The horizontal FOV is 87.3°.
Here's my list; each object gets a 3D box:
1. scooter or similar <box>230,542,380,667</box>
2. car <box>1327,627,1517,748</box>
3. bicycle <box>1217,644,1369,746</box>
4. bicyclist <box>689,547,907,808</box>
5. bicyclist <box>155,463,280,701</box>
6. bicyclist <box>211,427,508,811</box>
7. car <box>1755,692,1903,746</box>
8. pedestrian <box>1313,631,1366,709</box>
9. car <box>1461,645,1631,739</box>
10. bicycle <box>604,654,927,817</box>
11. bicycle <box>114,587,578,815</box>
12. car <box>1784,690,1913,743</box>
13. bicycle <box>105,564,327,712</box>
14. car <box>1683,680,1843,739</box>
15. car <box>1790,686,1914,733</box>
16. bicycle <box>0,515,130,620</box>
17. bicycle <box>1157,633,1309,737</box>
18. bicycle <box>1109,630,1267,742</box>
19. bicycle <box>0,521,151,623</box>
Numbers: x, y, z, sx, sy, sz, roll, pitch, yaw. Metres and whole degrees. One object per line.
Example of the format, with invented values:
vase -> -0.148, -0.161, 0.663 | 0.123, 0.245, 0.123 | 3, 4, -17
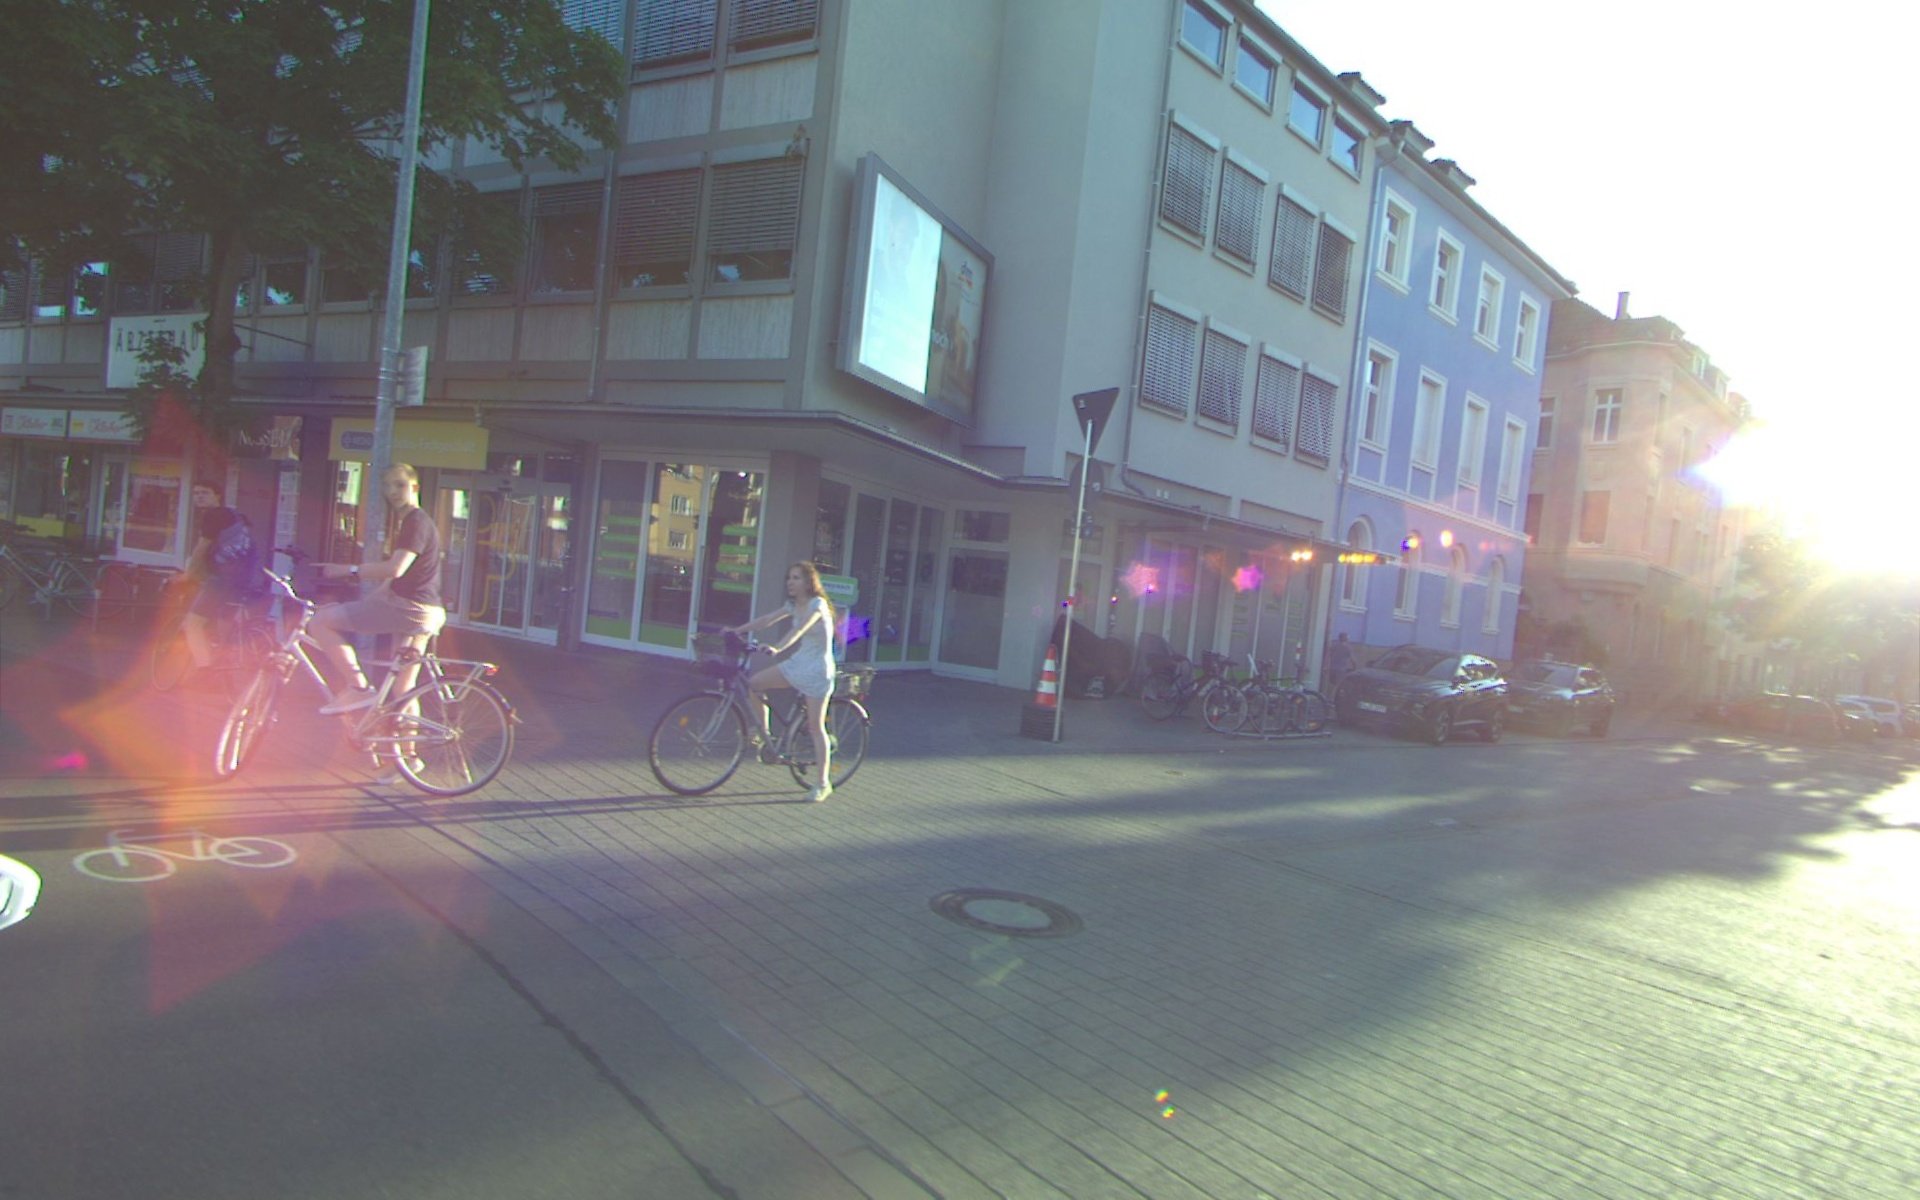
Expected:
scooter or similar -> -7.258, 0.058, 11.191 | 1.261, 1.251, 0.336 | 6, 1, -23
car -> 8.748, 1.623, 18.887 | 1.868, 1.773, 3.978 | 11, 3, 43
bicycle -> 5.260, 1.487, 16.017 | 0.699, 1.236, 2.087 | 5, 3, -41
bicyclist -> -1.140, 0.527, 7.092 | 1.106, 1.643, 0.831 | 5, 2, -41
bicyclist -> -6.107, -0.144, 8.284 | 0.549, 1.854, 0.466 | 7, 2, 17
bicyclist -> -3.376, 0.117, 5.781 | 1.096, 1.942, 0.838 | 6, 1, -11
car -> 34.293, 4.678, 39.844 | 3.929, 1.405, 1.997 | 7, 1, 26
pedestrian -> 8.021, 1.483, 21.257 | 0.595, 1.545, 0.668 | 5, 3, -43
car -> 13.796, 2.177, 23.597 | 4.398, 1.772, 1.872 | 6, 2, -40
bicycle -> -1.301, 0.913, 6.998 | 1.997, 0.892, 0.831 | 6, 0, -41
bicycle -> -3.406, 0.563, 5.805 | 2.043, 1.033, 0.838 | 6, 1, -12
car -> 41.414, 5.396, 47.015 | 3.927, 1.732, 1.999 | 7, 1, 22
bicycle -> -6.145, 0.294, 8.296 | 1.766, 0.983, 0.466 | 7, 1, 18
car -> 29.142, 3.963, 36.642 | 3.923, 1.449, 2.000 | 7, 1, 12
car -> 43.448, 5.319, 49.131 | 3.927, 1.627, 1.999 | 7, 1, 22
bicycle -> -12.177, -0.443, 13.137 | 0.658, 1.251, 1.903 | 7, 1, 36
bicycle -> 4.144, 1.279, 15.432 | 0.699, 1.236, 2.087 | 5, 2, -41
bicycle -> 3.292, 1.230, 14.725 | 0.699, 1.236, 2.087 | 5, 4, -41
bicycle -> -11.443, -0.363, 12.512 | 0.658, 1.124, 1.995 | 7, 1, 38
